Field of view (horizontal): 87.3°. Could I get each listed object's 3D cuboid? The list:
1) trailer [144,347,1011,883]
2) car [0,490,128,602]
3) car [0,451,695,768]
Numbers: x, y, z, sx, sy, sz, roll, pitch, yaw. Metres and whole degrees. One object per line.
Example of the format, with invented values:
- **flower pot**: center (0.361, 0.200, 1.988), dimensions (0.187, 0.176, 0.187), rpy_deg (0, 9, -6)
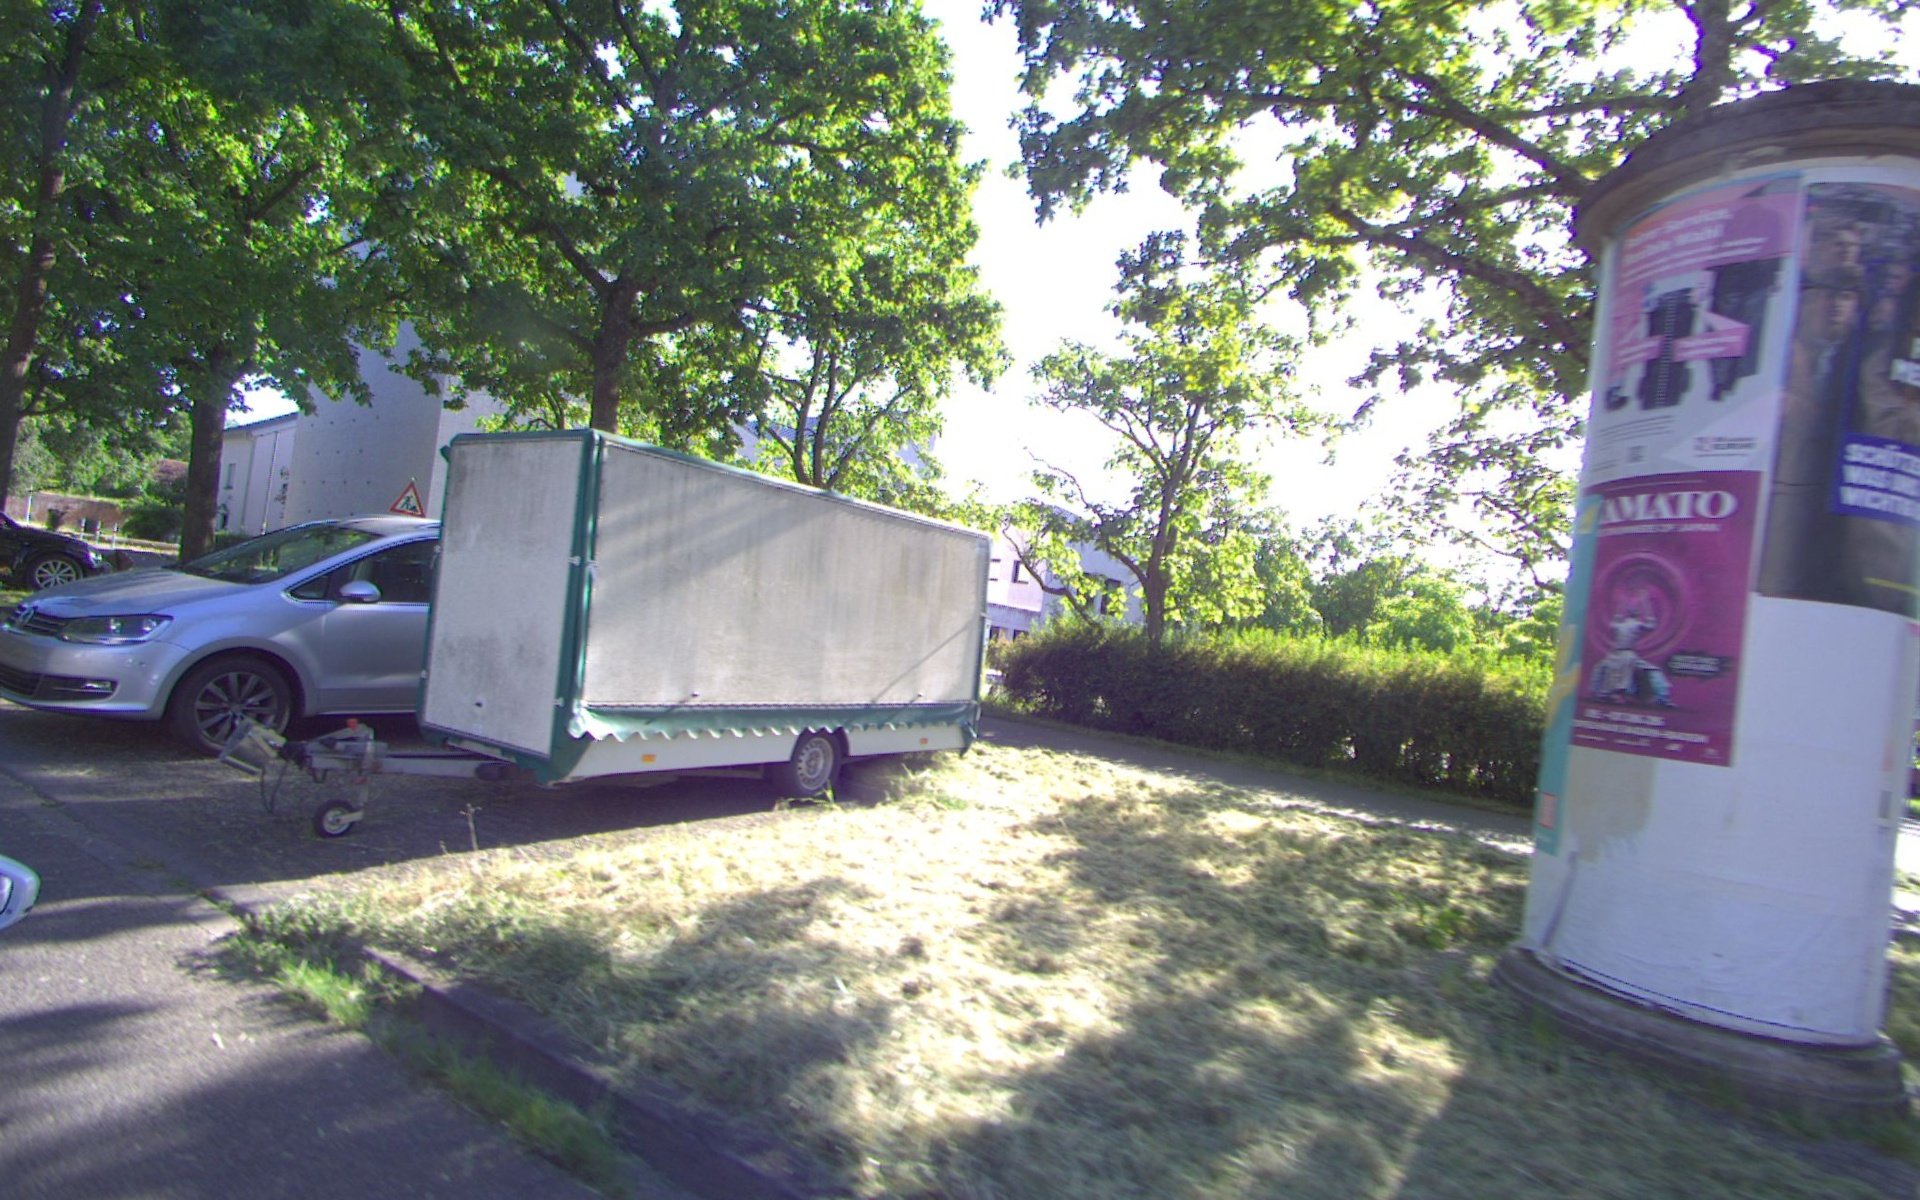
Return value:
- **trailer**: center (-1.929, 0.203, 7.254), dimensions (1.659, 2.346, 5.779), rpy_deg (7, 0, 33)
- **car**: center (-15.368, -1.012, 14.857), dimensions (2.044, 1.537, 4.250), rpy_deg (7, -1, 33)
- **car**: center (-4.644, 0.145, 8.064), dimensions (1.955, 1.743, 4.647), rpy_deg (7, 0, 32)
